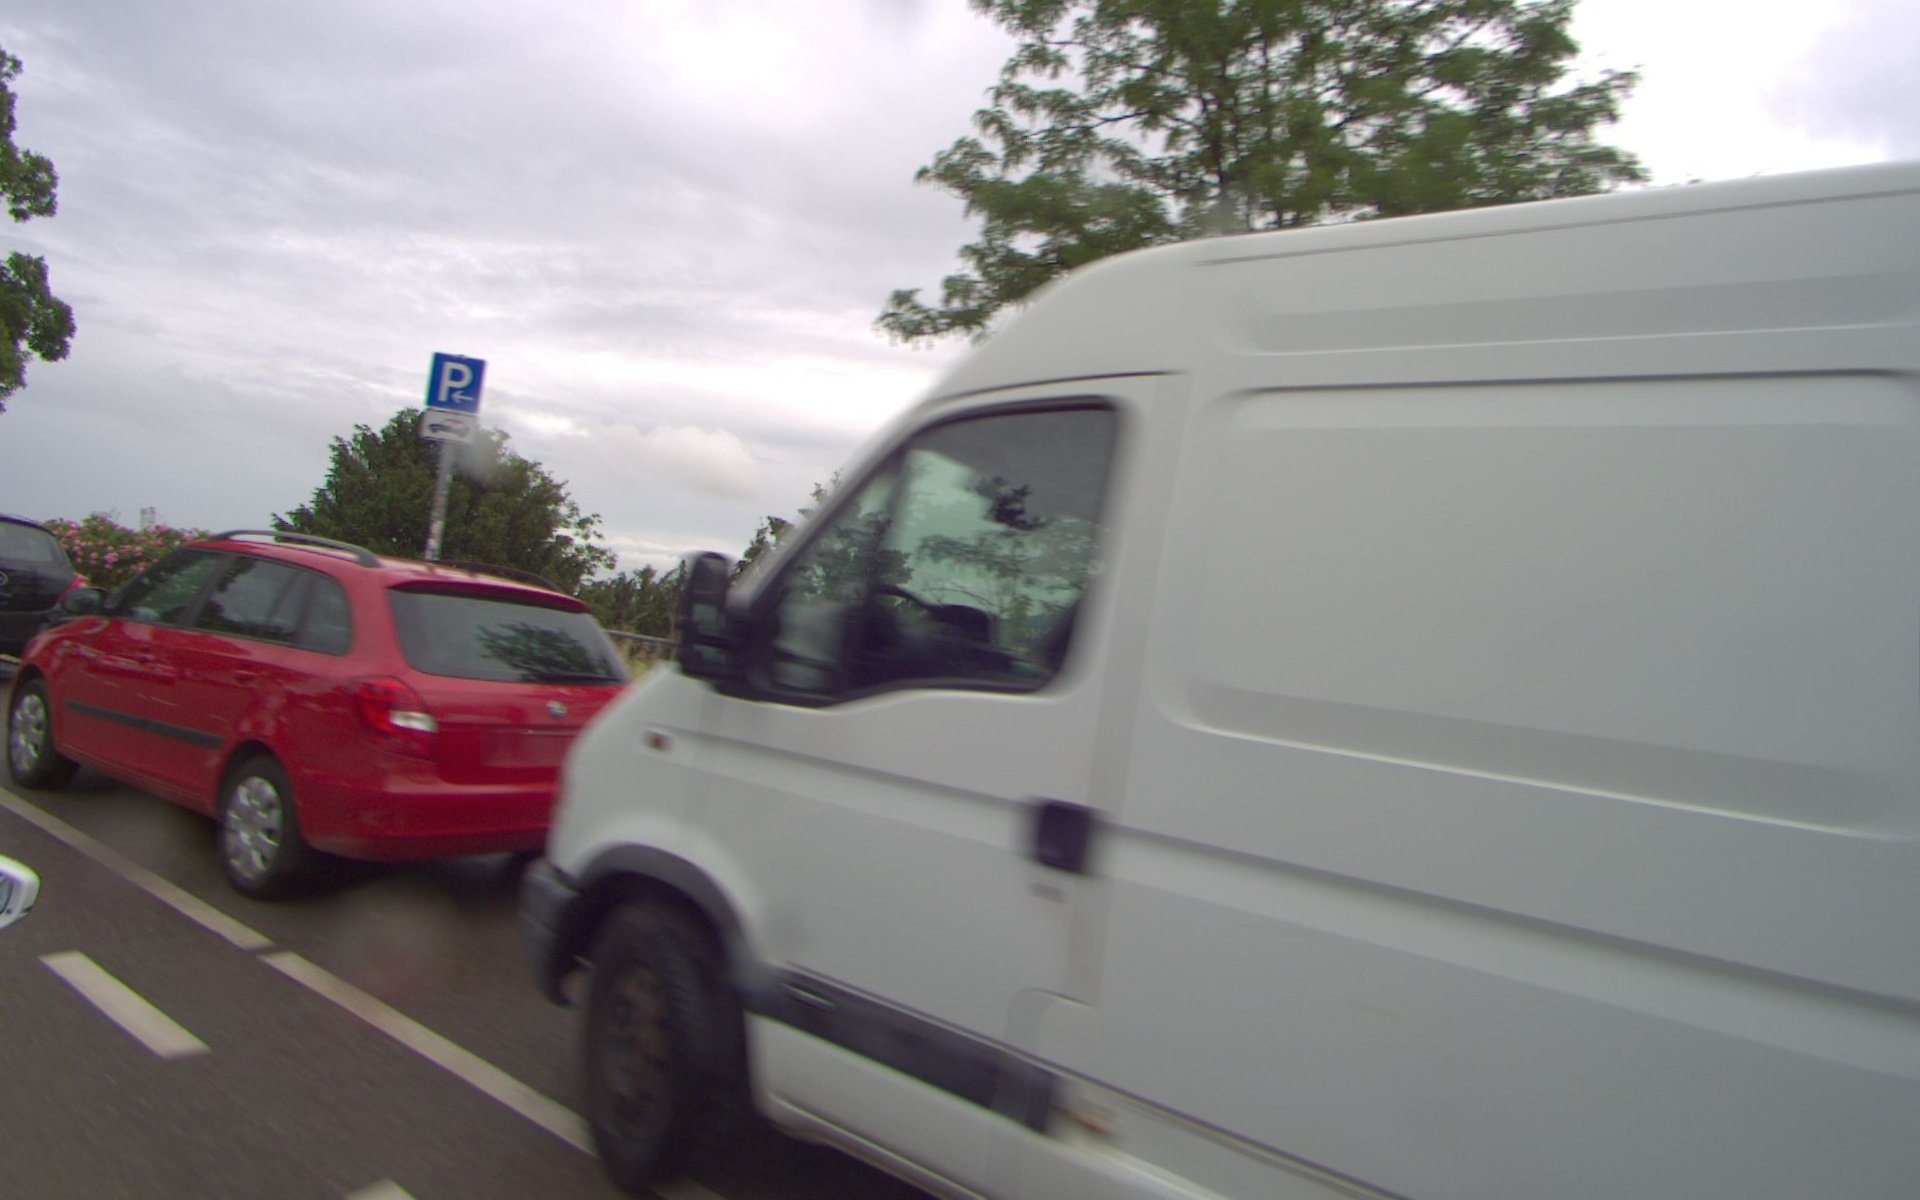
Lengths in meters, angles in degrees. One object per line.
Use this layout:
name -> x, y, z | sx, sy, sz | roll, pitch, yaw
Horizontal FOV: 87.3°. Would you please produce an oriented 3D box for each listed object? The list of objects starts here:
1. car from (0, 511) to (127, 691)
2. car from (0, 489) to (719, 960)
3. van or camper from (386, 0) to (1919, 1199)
car -> -9.707, -0.215, 9.086 | 3.876, 1.459, 1.702 | 7, -3, 24
car -> -3.488, 0.404, 5.458 | 4.144, 1.559, 1.623 | 7, 0, 30
van or camper -> 1.265, 0.367, 2.475 | 5.504, 2.692, 2.077 | 7, -1, 33
